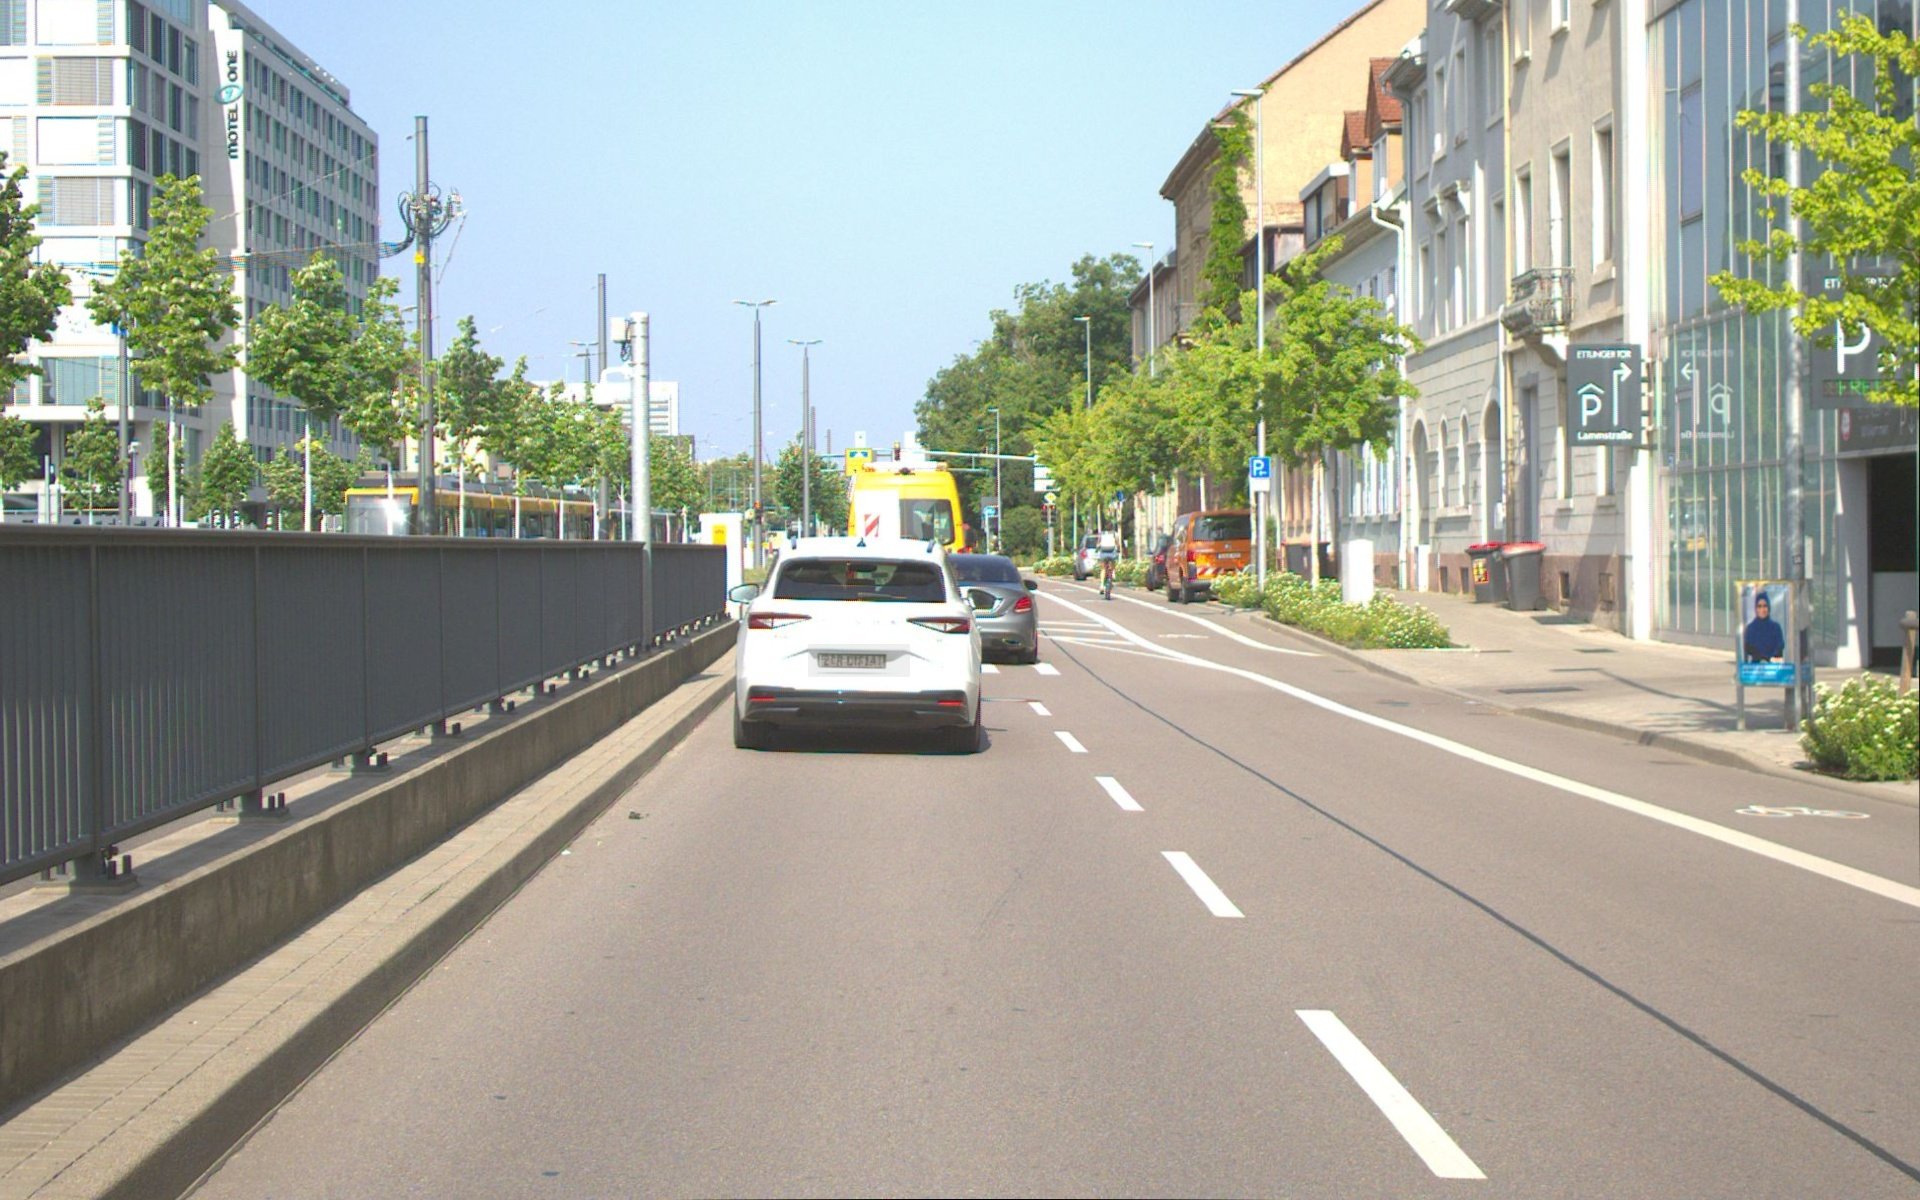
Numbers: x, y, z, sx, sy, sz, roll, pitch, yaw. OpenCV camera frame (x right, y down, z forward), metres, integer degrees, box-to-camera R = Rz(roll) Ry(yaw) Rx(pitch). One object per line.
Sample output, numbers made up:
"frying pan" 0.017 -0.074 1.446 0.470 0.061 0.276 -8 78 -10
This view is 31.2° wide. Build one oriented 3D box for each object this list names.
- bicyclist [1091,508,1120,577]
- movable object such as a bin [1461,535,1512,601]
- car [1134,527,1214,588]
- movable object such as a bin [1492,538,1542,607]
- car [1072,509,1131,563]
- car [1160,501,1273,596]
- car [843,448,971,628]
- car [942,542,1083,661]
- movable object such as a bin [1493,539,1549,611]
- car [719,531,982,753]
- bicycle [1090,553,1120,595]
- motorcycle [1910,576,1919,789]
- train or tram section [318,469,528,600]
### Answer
"bicyclist" 3.321 -1.308 78.537 0.639 1.571 0.771 0 1 2
"movable object such as a bin" 9.387 -0.572 61.282 0.669 1.148 0.617 -3 4 -44
"car" 5.501 -1.105 88.871 1.673 1.478 4.312 -2 1 -1
"movable object such as a bin" 9.531 -0.473 58.833 0.704 1.148 0.671 0 3 -1
"car" 4.888 -2.230 119.211 1.812 1.806 3.836 0 1 -1
"car" 5.615 -1.161 75.810 2.063 2.006 4.589 0 2 -1
"car" -0.862 -1.096 57.131 2.020 2.786 5.402 0 3 0
"car" 0.659 -0.018 45.854 1.760 1.431 4.115 1 1 0
"movable object such as a bin" 9.444 -0.429 57.862 0.781 1.168 0.808 0 3 -1
"car" -0.792 0.257 26.534 1.870 1.569 4.000 0 1 0
"bicycle" 3.313 -0.606 78.707 0.655 0.935 1.517 0 1 2
"motorcycle" 7.100 0.516 21.641 1.968 1.345 0.868 -1 1 -11
"train or tram section" -16.474 -2.006 107.228 2.906 3.663 18.136 1 1 2
